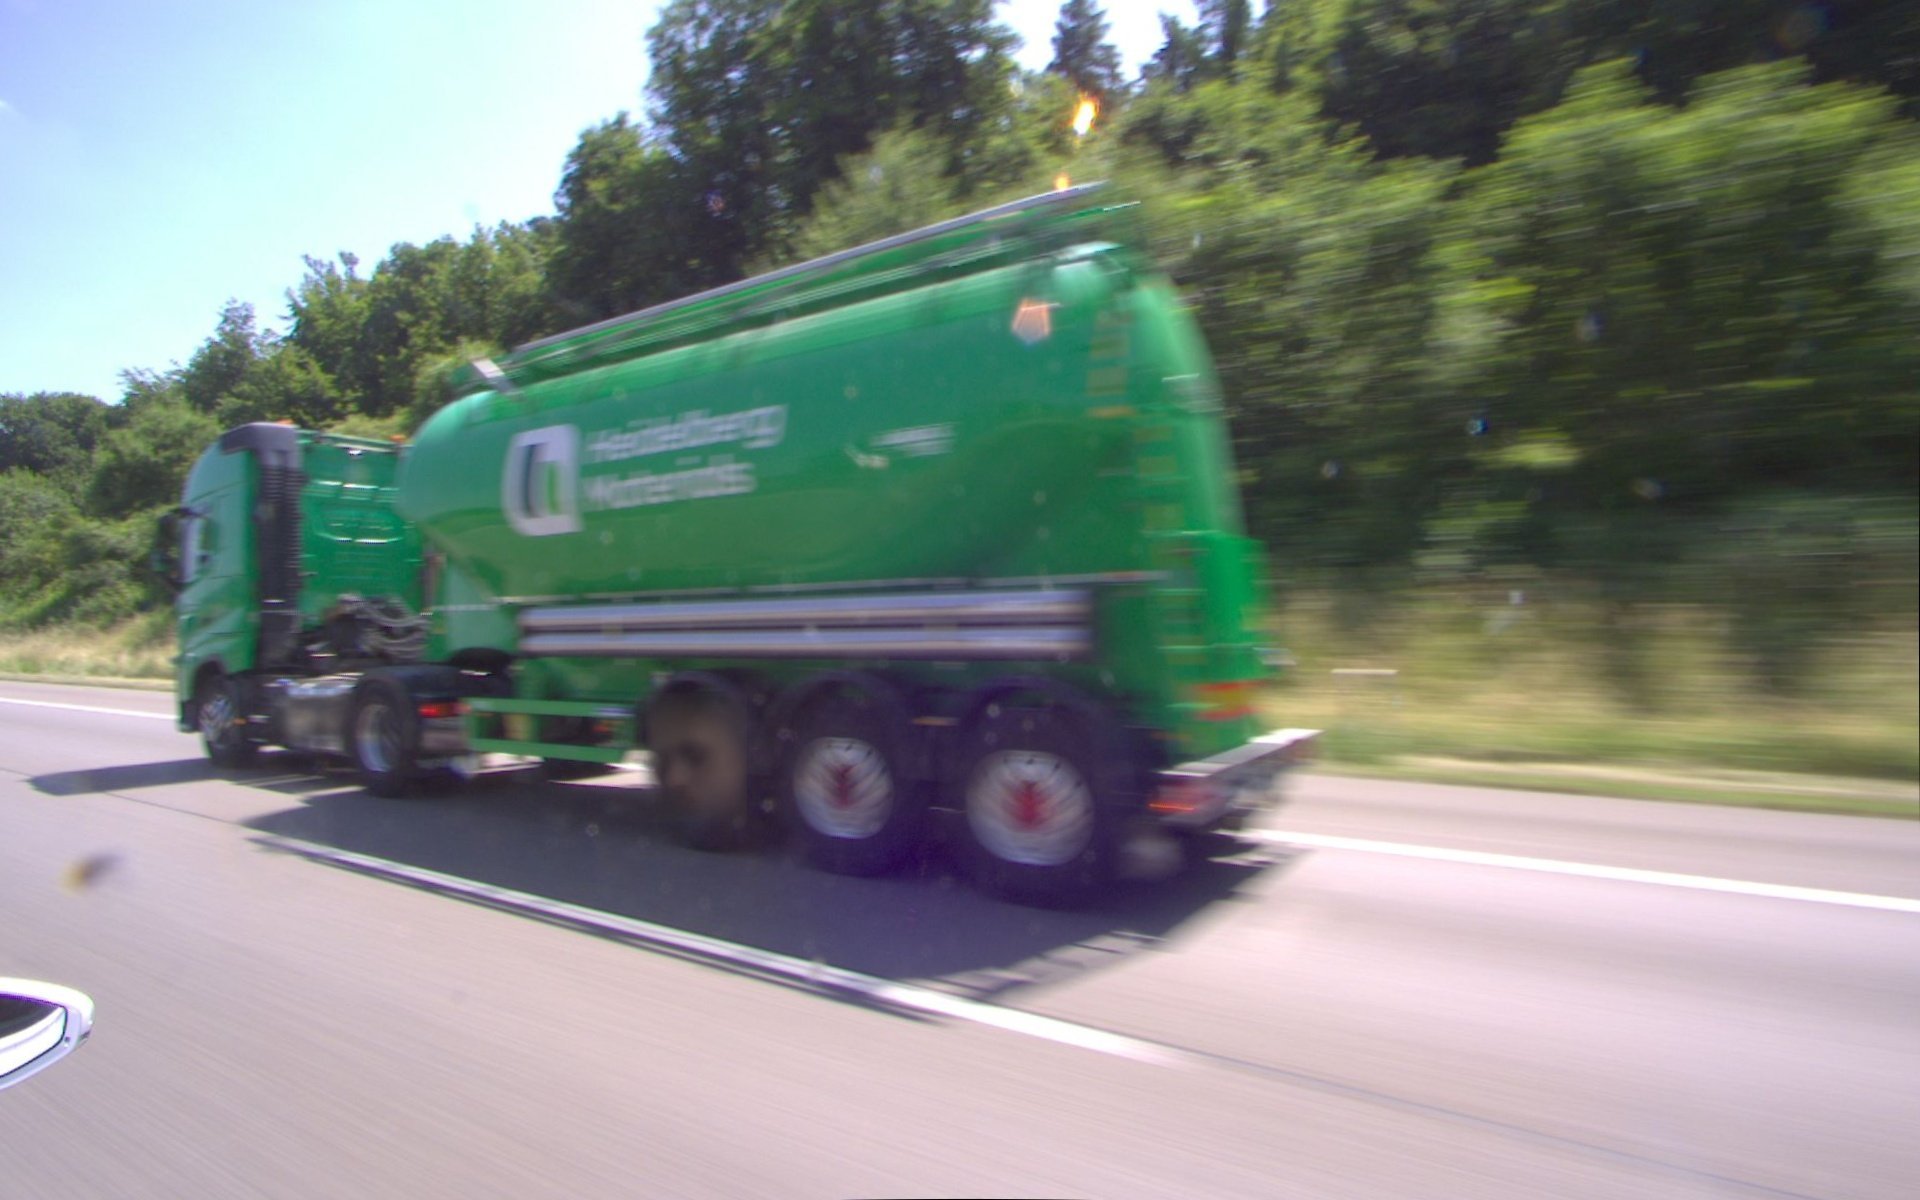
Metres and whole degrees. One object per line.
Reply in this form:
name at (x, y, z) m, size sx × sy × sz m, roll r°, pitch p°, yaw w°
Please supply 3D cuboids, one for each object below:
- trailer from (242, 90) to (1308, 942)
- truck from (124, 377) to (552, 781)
trailer at (-2.569, -0.321, 8.763) m, size 10.325 × 4.079 × 2.582 m, roll -1°, pitch -1°, yaw 34°
truck at (-7.503, -0.148, 12.007) m, size 4.822 × 3.891 × 2.505 m, roll 0°, pitch -1°, yaw 32°
